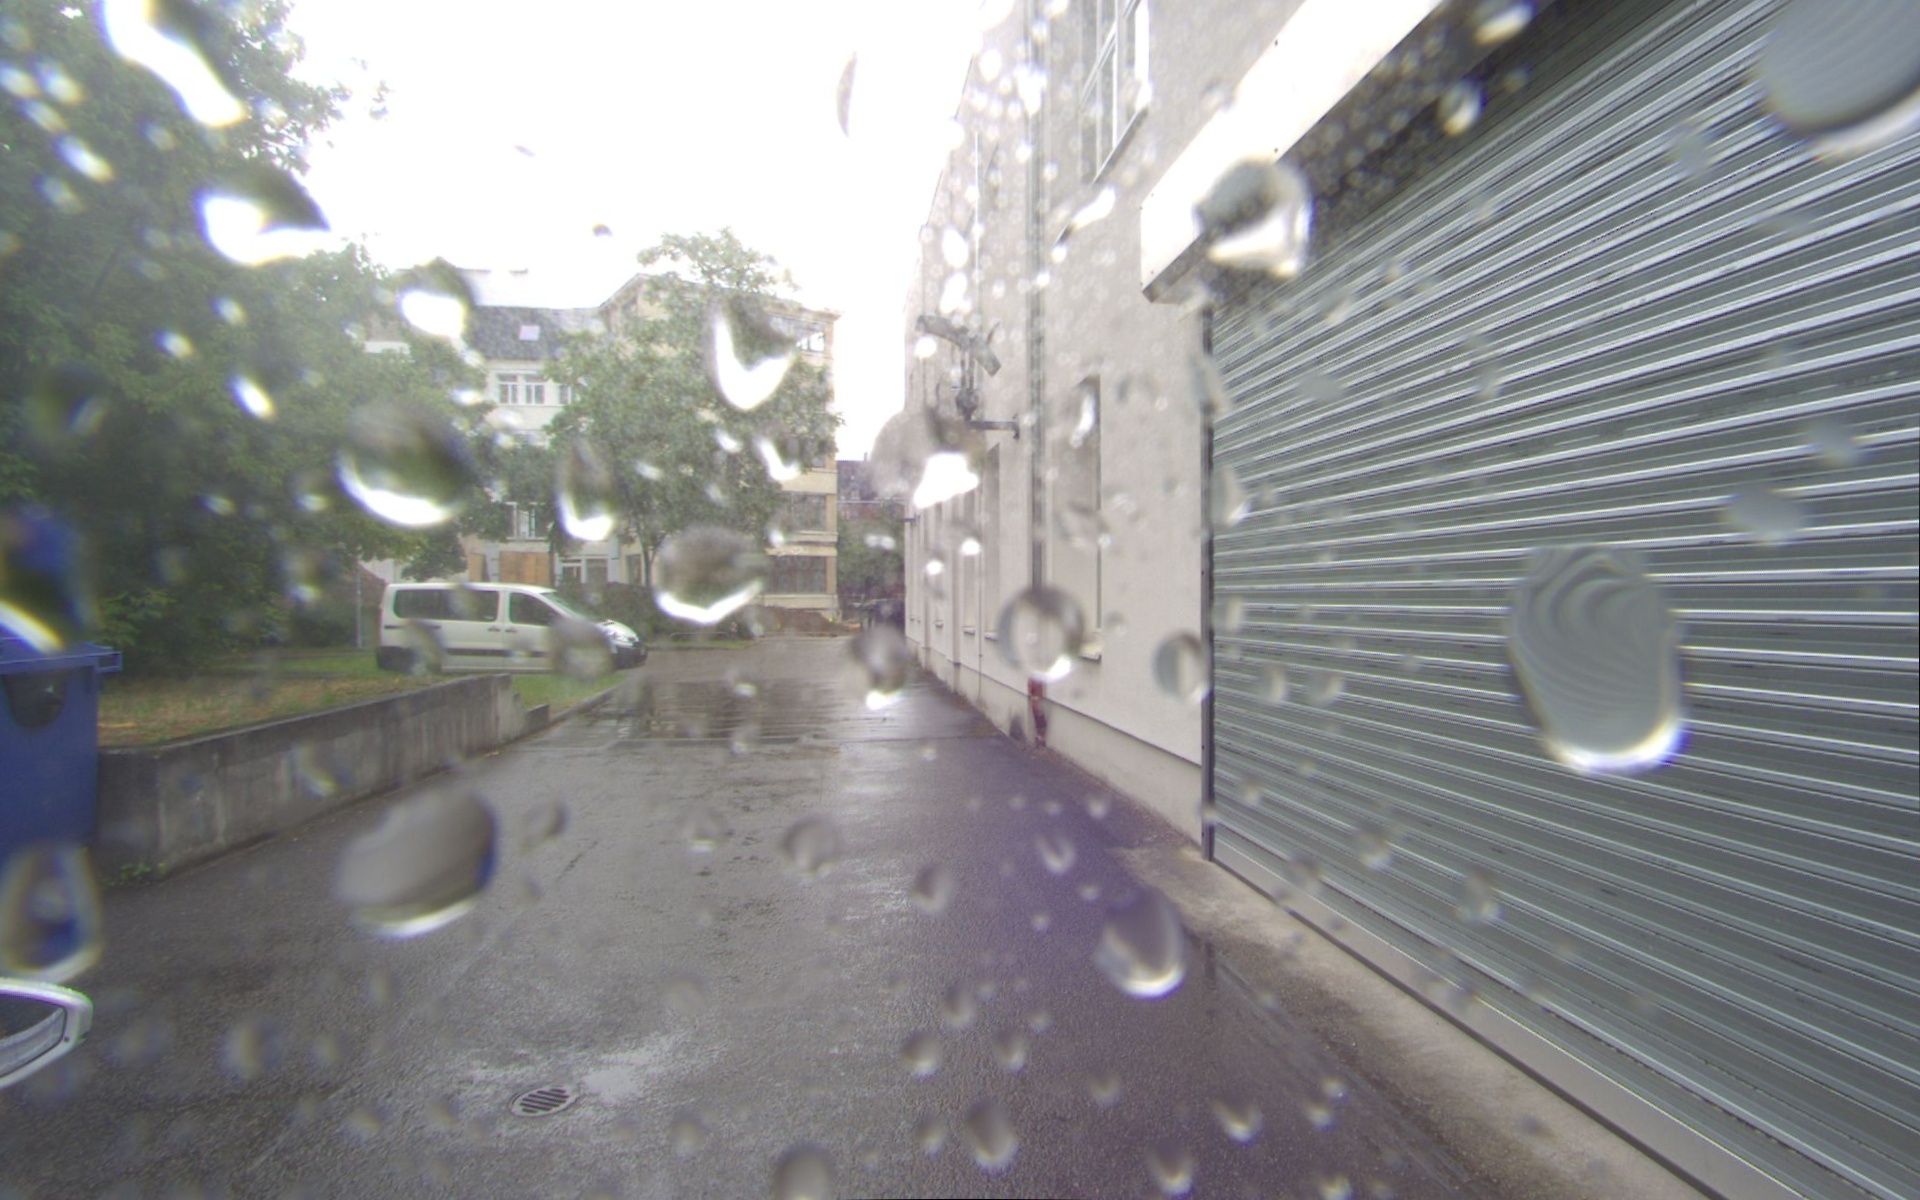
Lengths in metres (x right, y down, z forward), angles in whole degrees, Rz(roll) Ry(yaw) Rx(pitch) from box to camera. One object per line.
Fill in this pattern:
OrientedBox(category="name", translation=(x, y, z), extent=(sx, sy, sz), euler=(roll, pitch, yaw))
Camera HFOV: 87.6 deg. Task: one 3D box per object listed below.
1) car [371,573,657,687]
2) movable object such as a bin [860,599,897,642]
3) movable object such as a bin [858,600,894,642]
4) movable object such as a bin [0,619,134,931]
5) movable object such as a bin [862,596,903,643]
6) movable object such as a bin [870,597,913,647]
OrientedBox(category="car", translation=(-8.601, 0.536, 19.716), extent=(4.704, 2.041, 1.999), euler=(-1, 1, -6))
OrientedBox(category="movable object such as a bin", translation=(-2.835, 0.711, 34.569), extent=(1.195, 1.455, 1.259), euler=(0, -2, -9))
OrientedBox(category="movable object such as a bin", translation=(-3.033, 0.764, 35.934), extent=(1.195, 1.455, 1.259), euler=(0, -2, -9))
OrientedBox(category="movable object such as a bin", translation=(-4.883, 0.784, 4.675), extent=(1.202, 1.355, 1.006), euler=(0, 1, -7))
OrientedBox(category="movable object such as a bin", translation=(-2.459, 0.632, 31.586), extent=(1.195, 1.455, 1.294), euler=(0, -2, -9))
OrientedBox(category="movable object such as a bin", translation=(-2.059, 0.657, 29.931), extent=(1.195, 1.455, 1.236), euler=(0, -2, -9))
